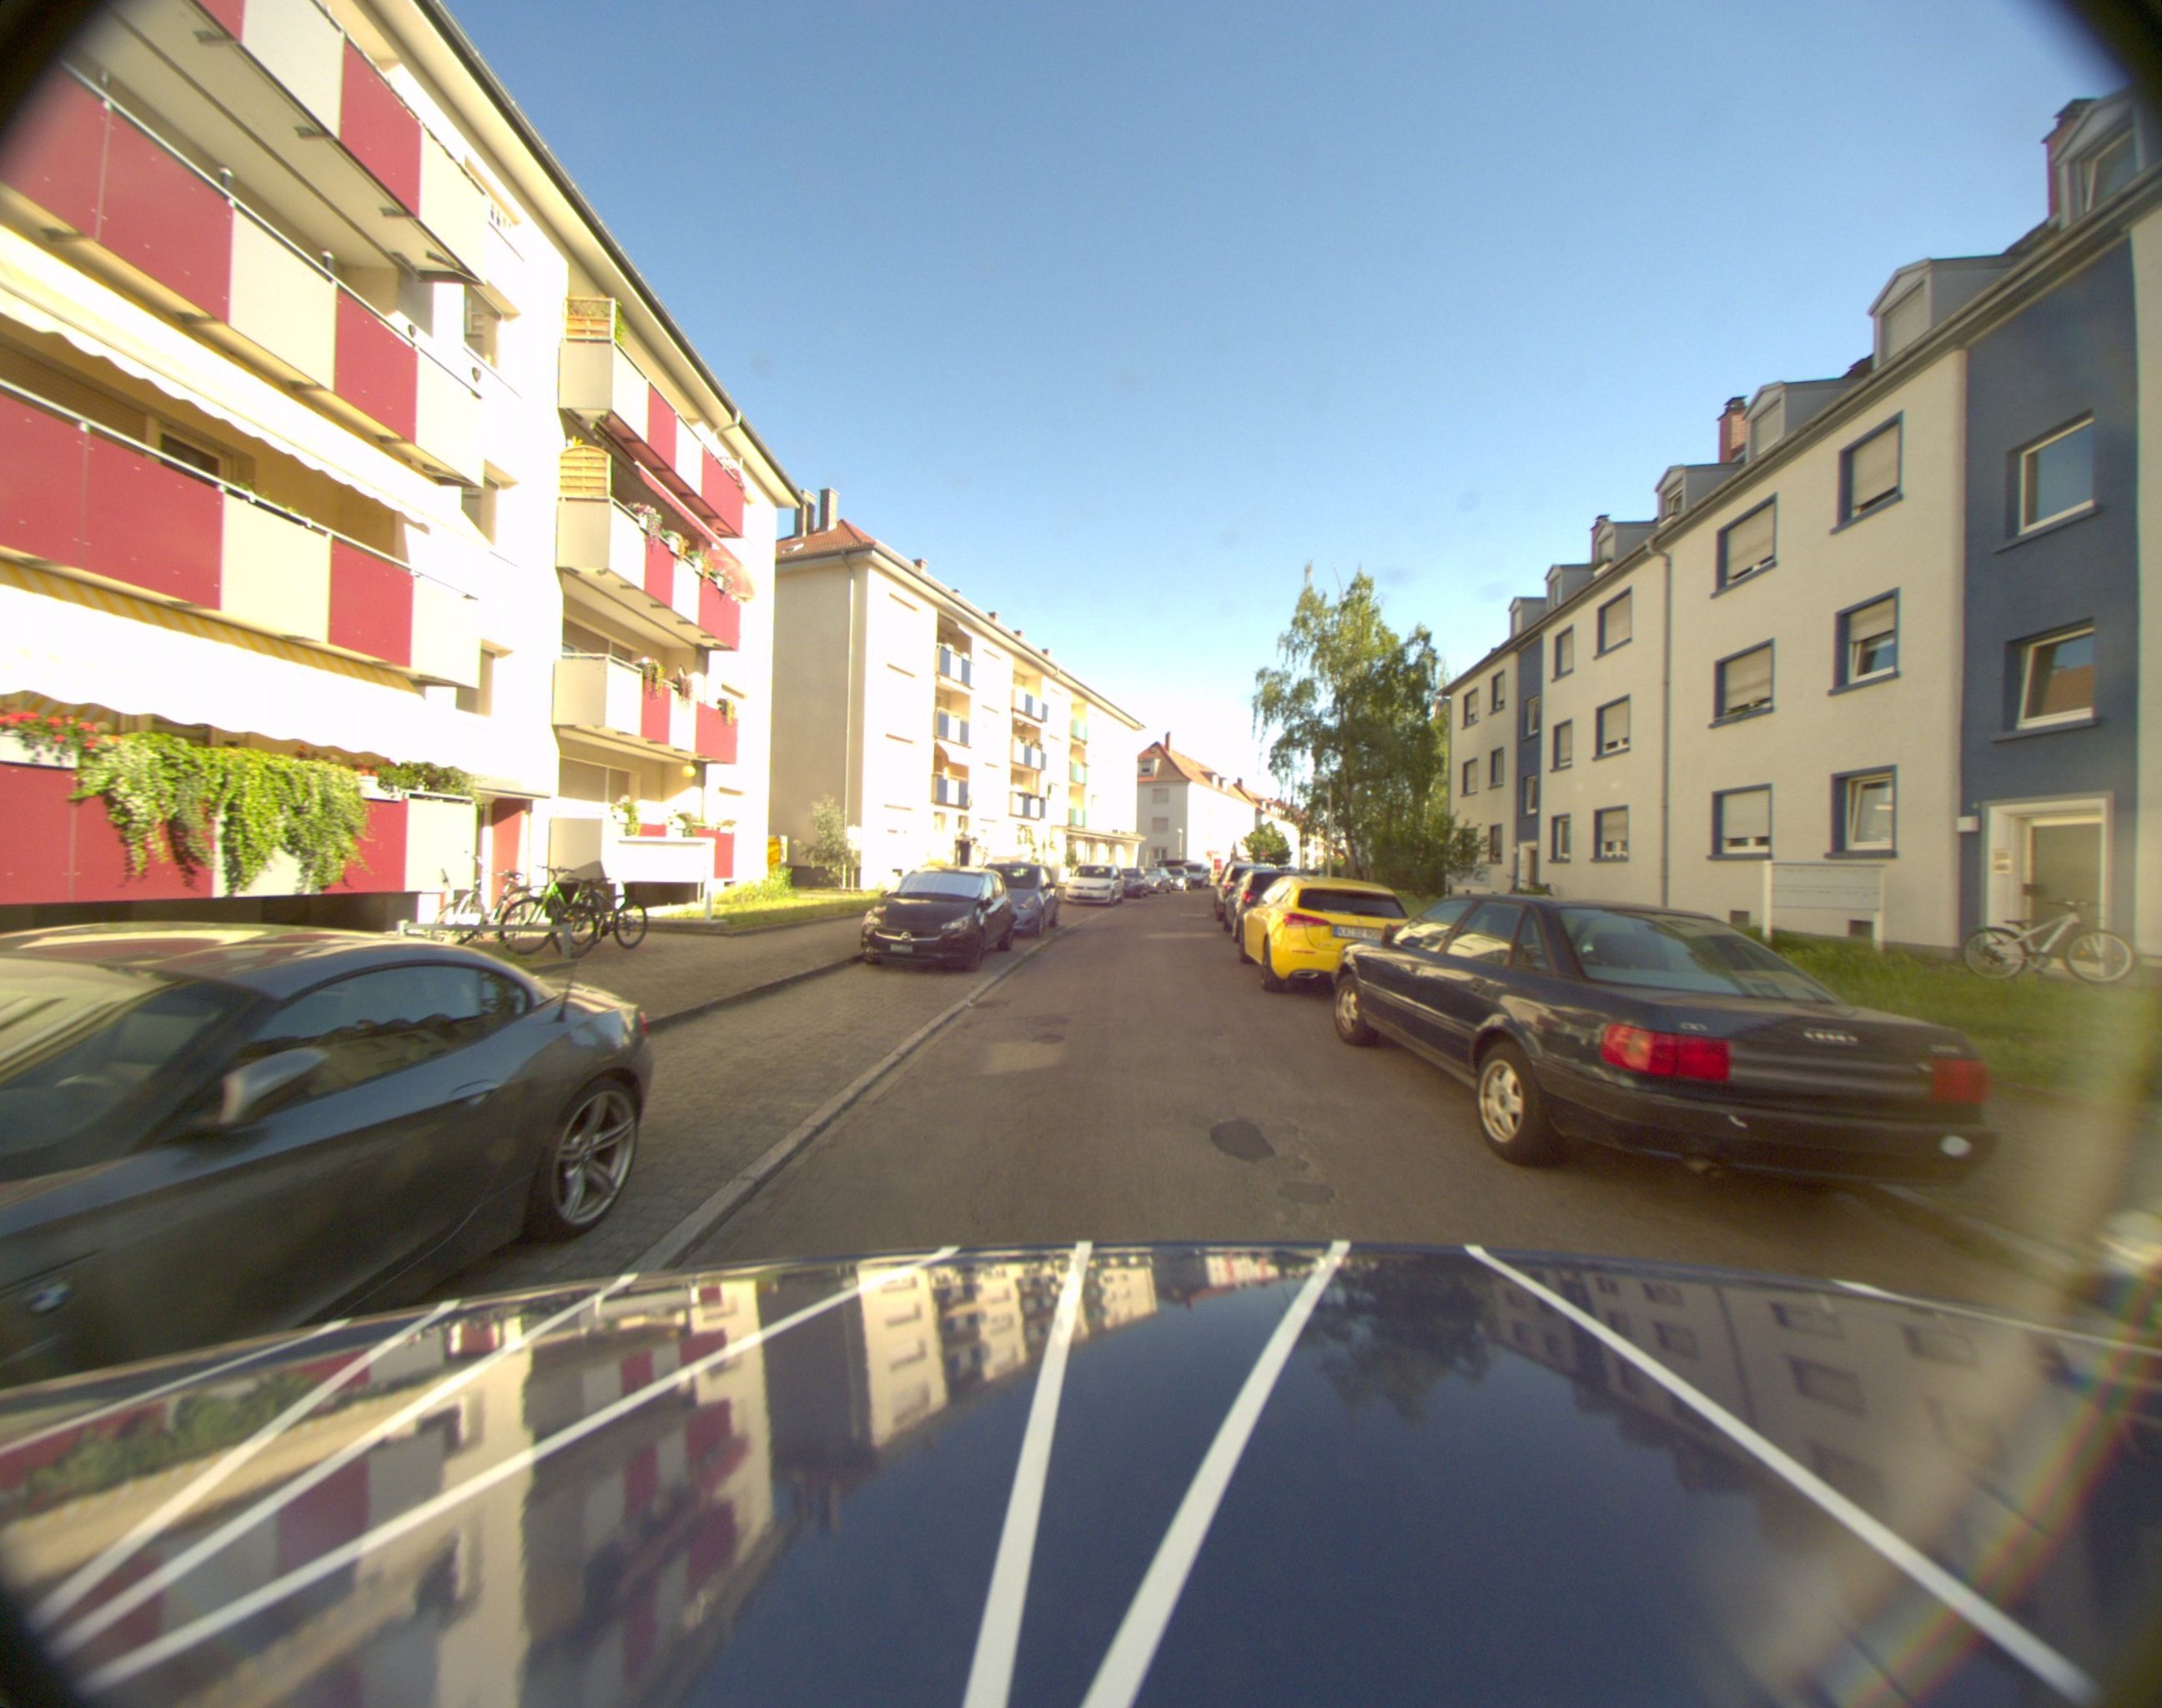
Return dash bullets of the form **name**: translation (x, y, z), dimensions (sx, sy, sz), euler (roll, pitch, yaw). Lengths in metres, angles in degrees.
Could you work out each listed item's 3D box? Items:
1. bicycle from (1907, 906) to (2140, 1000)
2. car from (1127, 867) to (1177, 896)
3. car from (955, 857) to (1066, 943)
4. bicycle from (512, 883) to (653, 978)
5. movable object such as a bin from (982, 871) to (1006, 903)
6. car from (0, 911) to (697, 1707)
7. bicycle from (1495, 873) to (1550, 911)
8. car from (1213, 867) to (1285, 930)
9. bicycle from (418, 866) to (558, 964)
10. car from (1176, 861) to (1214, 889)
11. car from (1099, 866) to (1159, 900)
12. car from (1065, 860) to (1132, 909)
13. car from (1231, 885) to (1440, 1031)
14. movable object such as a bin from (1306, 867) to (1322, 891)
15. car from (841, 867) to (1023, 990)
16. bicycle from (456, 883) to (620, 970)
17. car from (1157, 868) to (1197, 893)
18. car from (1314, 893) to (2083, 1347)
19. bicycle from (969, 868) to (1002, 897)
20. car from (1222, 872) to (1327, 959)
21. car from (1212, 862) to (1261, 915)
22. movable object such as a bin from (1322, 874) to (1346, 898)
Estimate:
- **bicycle**: translation (11.642, 1.212, 9.444), dimensions (1.823, 1.072, 0.569), euler (-2, -1, 14)
- **car**: translation (4.000, 1.492, 42.312), dimensions (1.680, 1.438, 4.730), euler (-1, 0, 19)
- **car**: translation (-1.487, 0.945, 17.551), dimensions (1.769, 1.626, 4.042), euler (2, 1, 6)
- **bicycle**: translation (-6.327, 0.926, 9.768), dimensions (0.499, 1.014, 1.842), euler (3, 0, 2)
- **movable object such as a bin**: translation (-3.101, 1.156, 27.138), dimensions (0.584, 1.089, 0.683), euler (3, 0, 16)
- **car**: translation (-2.874, 1.003, 1.762), dimensions (1.689, 1.355, 4.240), euler (3, 0, 1)
- **bicycle**: translation (13.969, 1.197, 24.051), dimensions (1.411, 1.145, 0.416), euler (2, 0, 7)
- **car**: translation (4.703, 1.181, 21.713), dimensions (1.697, 1.551, 4.160), euler (0, 0, 8)
- **bicycle**: translation (-7.840, 0.759, 10.148), dimensions (0.408, 1.144, 1.762), euler (3, 0, 2)
- **car**: translation (8.042, 1.472, 53.475), dimensions (1.748, 1.813, 4.138), euler (3, 0, 20)
- **car**: translation (2.363, 1.317, 36.171), dimensions (1.696, 1.423, 4.694), euler (-1, 0, 18)
- **car**: translation (0.774, 1.152, 30.116), dimensions (1.696, 1.646, 4.395), euler (6, 0, 12)
- **car**: translation (3.104, 1.183, 10.151), dimensions (1.697, 1.381, 4.159), euler (2, -1, 5)
- **movable object such as a bin**: translation (14.326, 1.521, 46.618), dimensions (0.776, 1.384, 1.420), euler (1, 0, 22)
- **car**: translation (-2.172, 1.034, 12.182), dimensions (1.738, 1.499, 3.887), euler (4, 0, 5)
- **bicycle**: translation (-6.943, 0.884, 9.863), dimensions (0.619, 0.972, 1.897), euler (4, -2, 3)
- **car**: translation (6.160, 1.628, 48.240), dimensions (1.680, 1.399, 4.551), euler (-1, 0, 17)
- **car**: translation (2.971, 1.106, 4.988), dimensions (1.573, 1.456, 4.262), euler (3, -1, 1)
- **bicycle**: translation (-4.116, 1.220, 32.869), dimensions (0.515, 1.196, 1.837), euler (3, 0, 22)
- **car**: translation (3.933, 1.173, 16.024), dimensions (1.697, 1.436, 4.023), euler (3, 0, 8)
- **car**: translation (5.823, 1.213, 28.535), dimensions (1.557, 1.704, 4.341), euler (4, 1, 11)
- **movable object such as a bin**: translation (15.105, 1.884, 45.369), dimensions (1.220, 1.372, 0.769), euler (0, 0, 27)
